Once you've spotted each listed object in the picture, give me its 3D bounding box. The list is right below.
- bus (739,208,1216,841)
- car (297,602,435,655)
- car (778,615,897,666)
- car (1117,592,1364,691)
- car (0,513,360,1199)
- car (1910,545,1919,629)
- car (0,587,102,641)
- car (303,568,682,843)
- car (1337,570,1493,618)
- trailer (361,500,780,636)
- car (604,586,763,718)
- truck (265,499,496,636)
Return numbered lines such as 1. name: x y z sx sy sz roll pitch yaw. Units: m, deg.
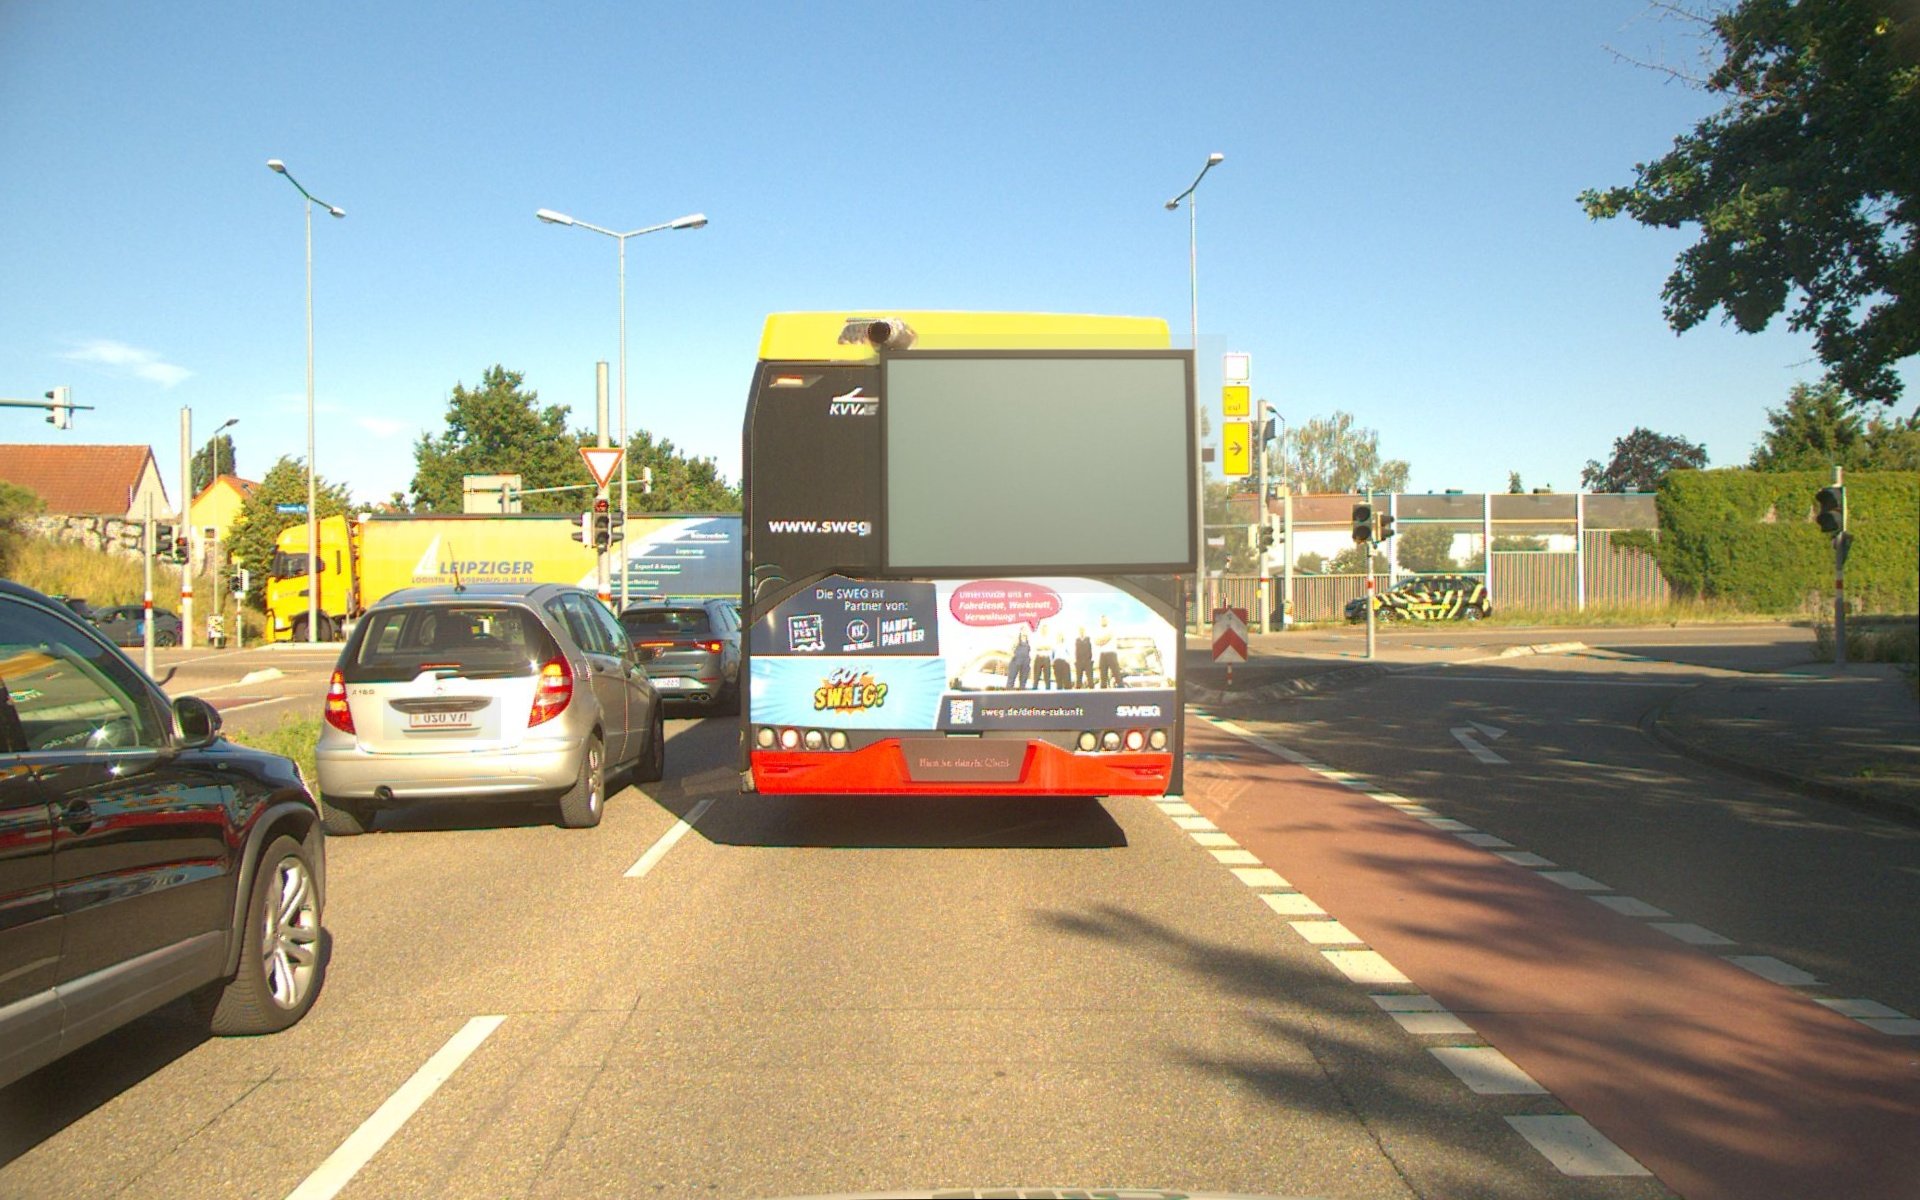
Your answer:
1. bus: 0.010 -0.424 14.940 2.543 3.393 11.981 1 0 -1
2. car: -19.219 0.908 53.653 3.910 1.640 1.693 0 0 -7
3. car: -4.125 1.336 55.546 3.910 1.640 1.693 0 0 -7
4. car: 4.063 0.583 24.205 3.447 1.325 1.576 1 1 8
5. car: -3.167 0.678 4.304 1.784 1.703 4.001 -2 -1 -1
6. car: 16.686 -0.181 26.009 3.355 1.318 1.448 1 -1 -26
7. car: -26.469 0.397 46.404 3.911 1.467 1.563 1 -1 -7
8. car: -3.194 0.606 12.136 1.718 1.648 4.032 0 1 -2
9. car: 13.162 -0.151 47.944 4.078 1.325 1.573 1 -1 -4
10. trailer: -11.934 -1.016 51.702 12.492 4.100 2.466 0 0 -8
11. car: -3.415 0.617 20.958 1.556 1.512 3.680 -1 -1 -3
12. truck: -17.723 -0.994 50.933 6.277 4.068 2.469 0 0 -8
